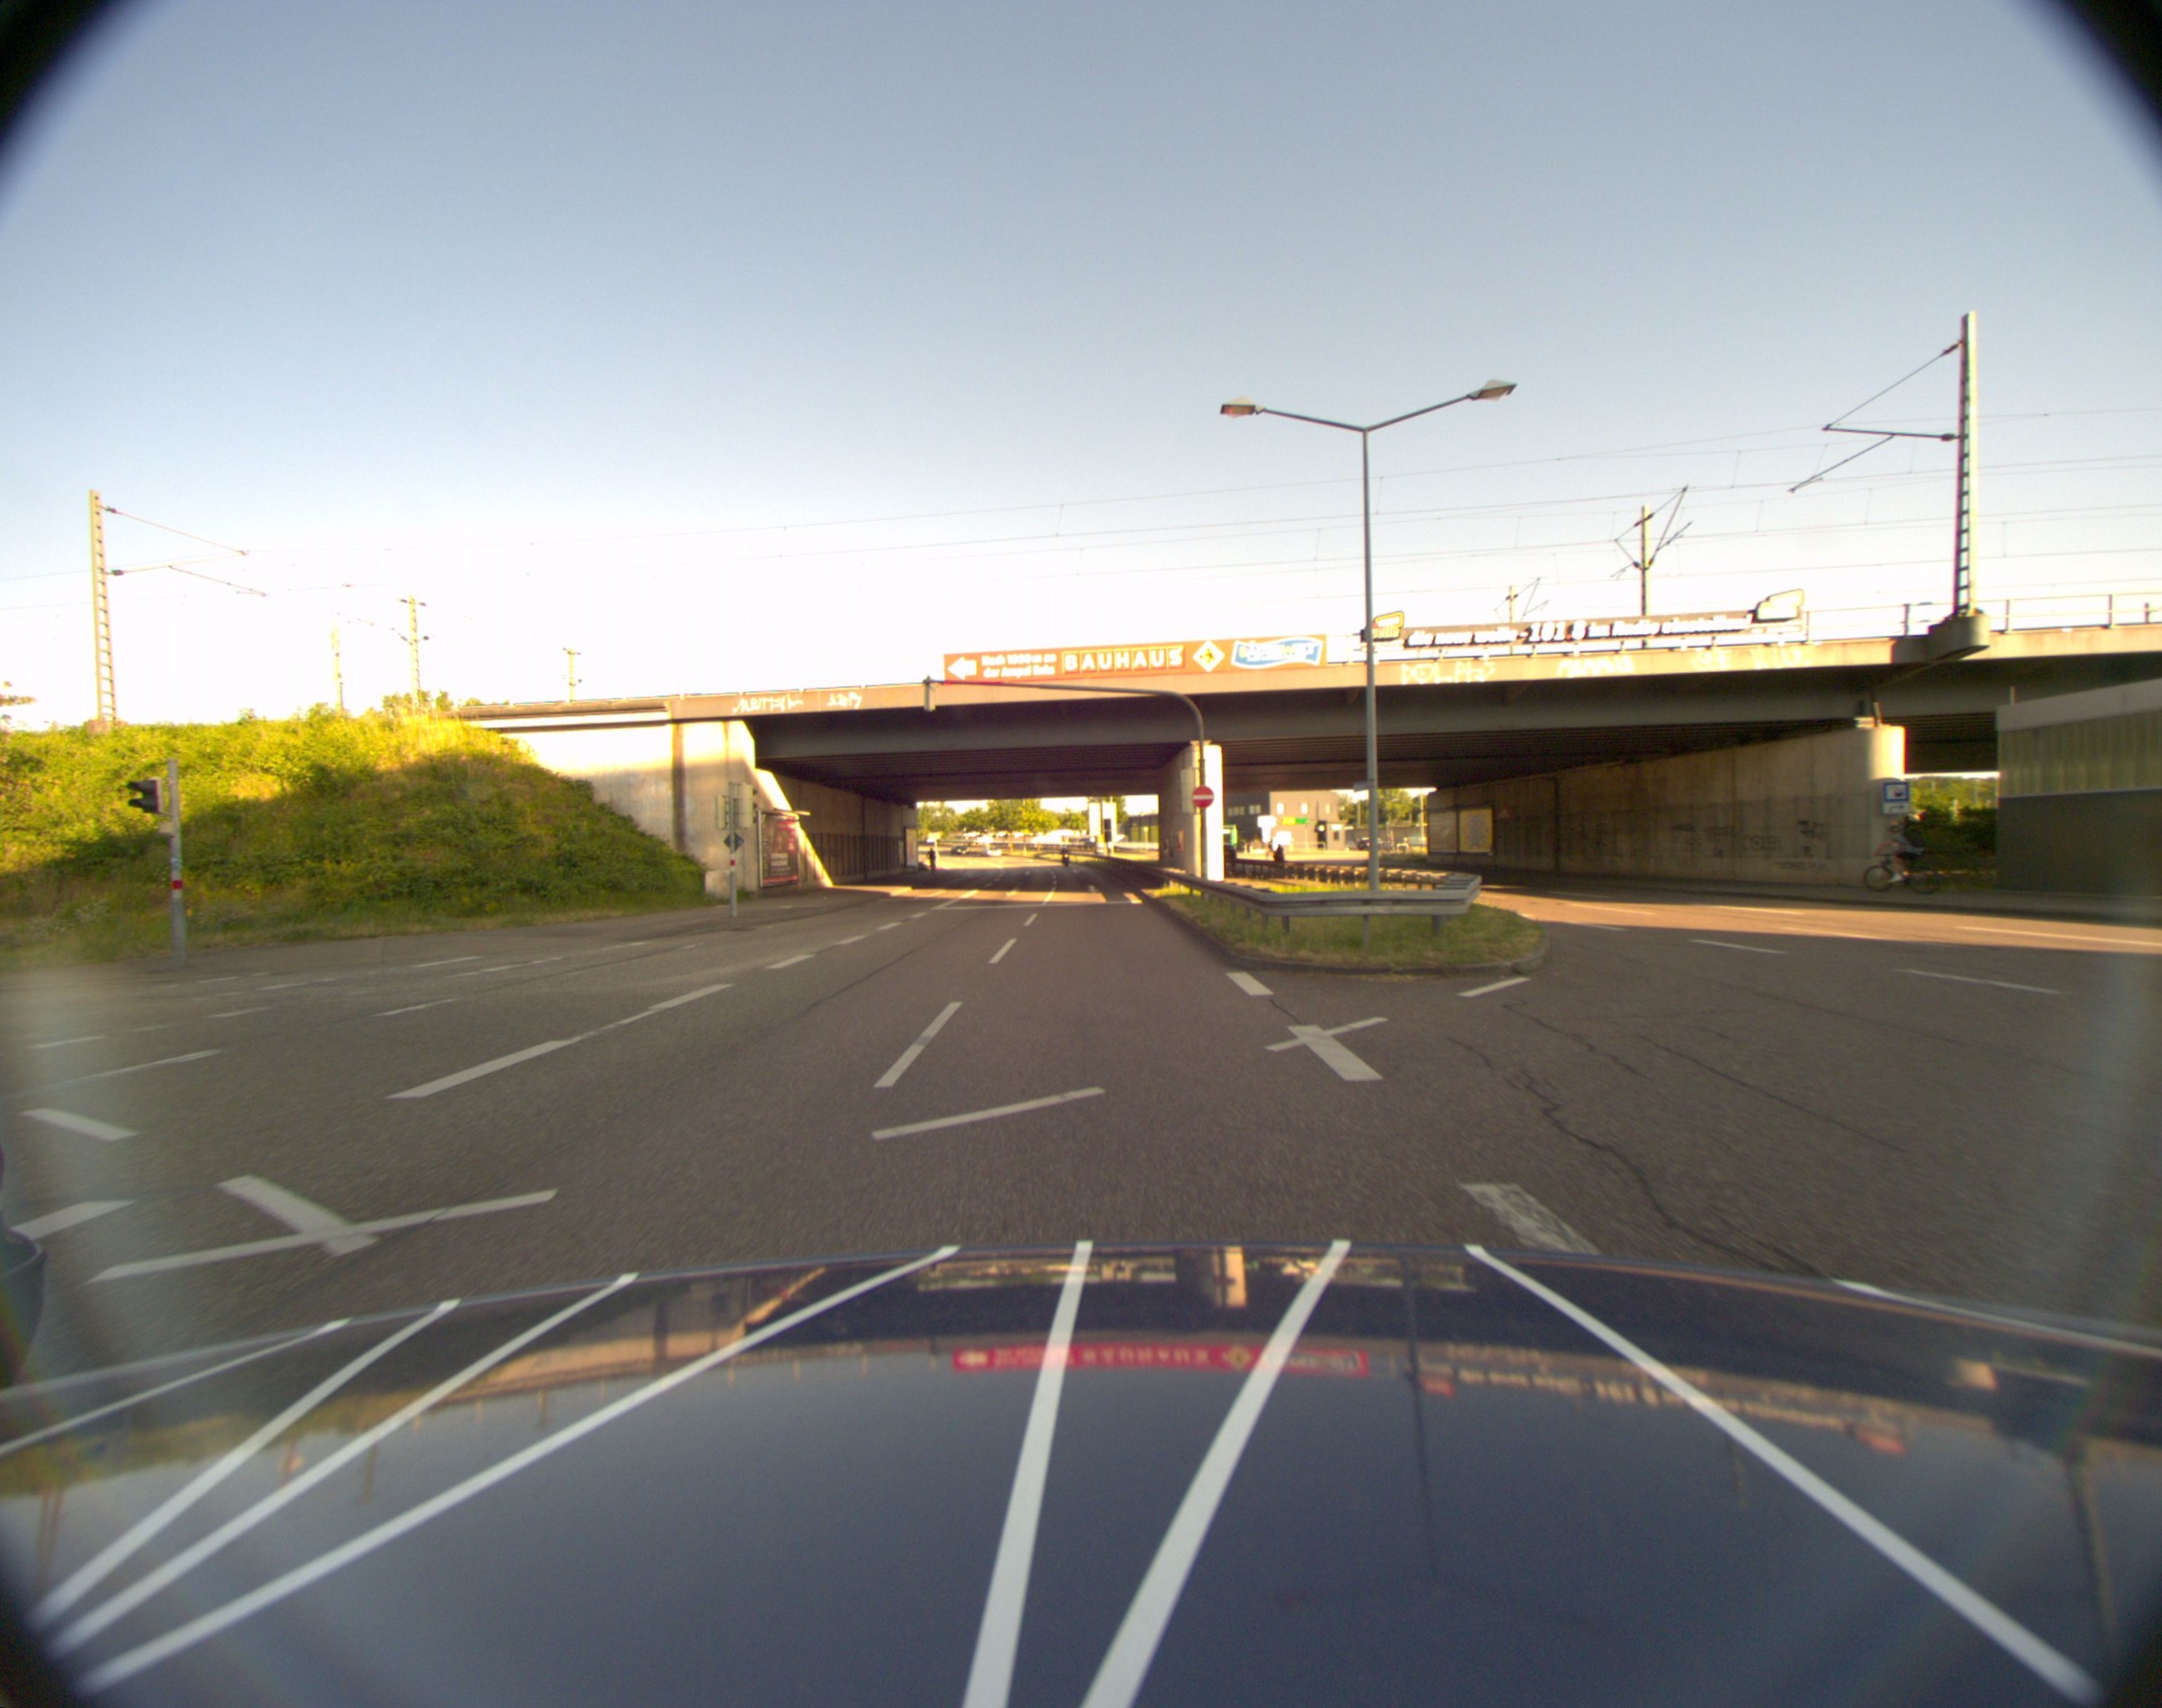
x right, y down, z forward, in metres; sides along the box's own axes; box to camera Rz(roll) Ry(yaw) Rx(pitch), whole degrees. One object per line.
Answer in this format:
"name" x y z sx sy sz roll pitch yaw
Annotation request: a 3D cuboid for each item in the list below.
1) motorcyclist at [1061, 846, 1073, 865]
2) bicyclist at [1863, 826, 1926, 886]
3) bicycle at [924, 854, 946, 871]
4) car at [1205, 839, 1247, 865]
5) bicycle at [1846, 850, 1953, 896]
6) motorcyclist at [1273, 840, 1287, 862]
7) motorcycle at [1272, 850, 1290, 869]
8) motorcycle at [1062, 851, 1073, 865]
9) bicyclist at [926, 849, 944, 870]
"motorcyclist" -1.078 0.099 60.348 0.839 1.434 0.878 -3 2 1
"bicyclist" 22.007 0.050 20.574 0.726 1.555 0.939 -3 2 5
"bicycle" -9.950 0.560 51.718 0.784 1.051 2.491 -4 2 -28
"car" 10.427 -0.170 54.962 1.999 1.687 4.679 2 2 -1
"bicycle" 22.013 0.494 20.508 0.706 1.149 2.081 -3 0 5
"motorcyclist" 13.209 -0.229 50.457 0.683 1.416 0.867 -3 2 4
"motorcycle" 13.245 0.328 50.427 0.682 1.150 2.239 -3 2 4
"motorcycle" -1.069 0.300 60.249 0.811 1.040 2.352 -3 2 1
"bicyclist" -9.940 0.361 51.611 0.844 1.413 1.111 -4 2 -27
